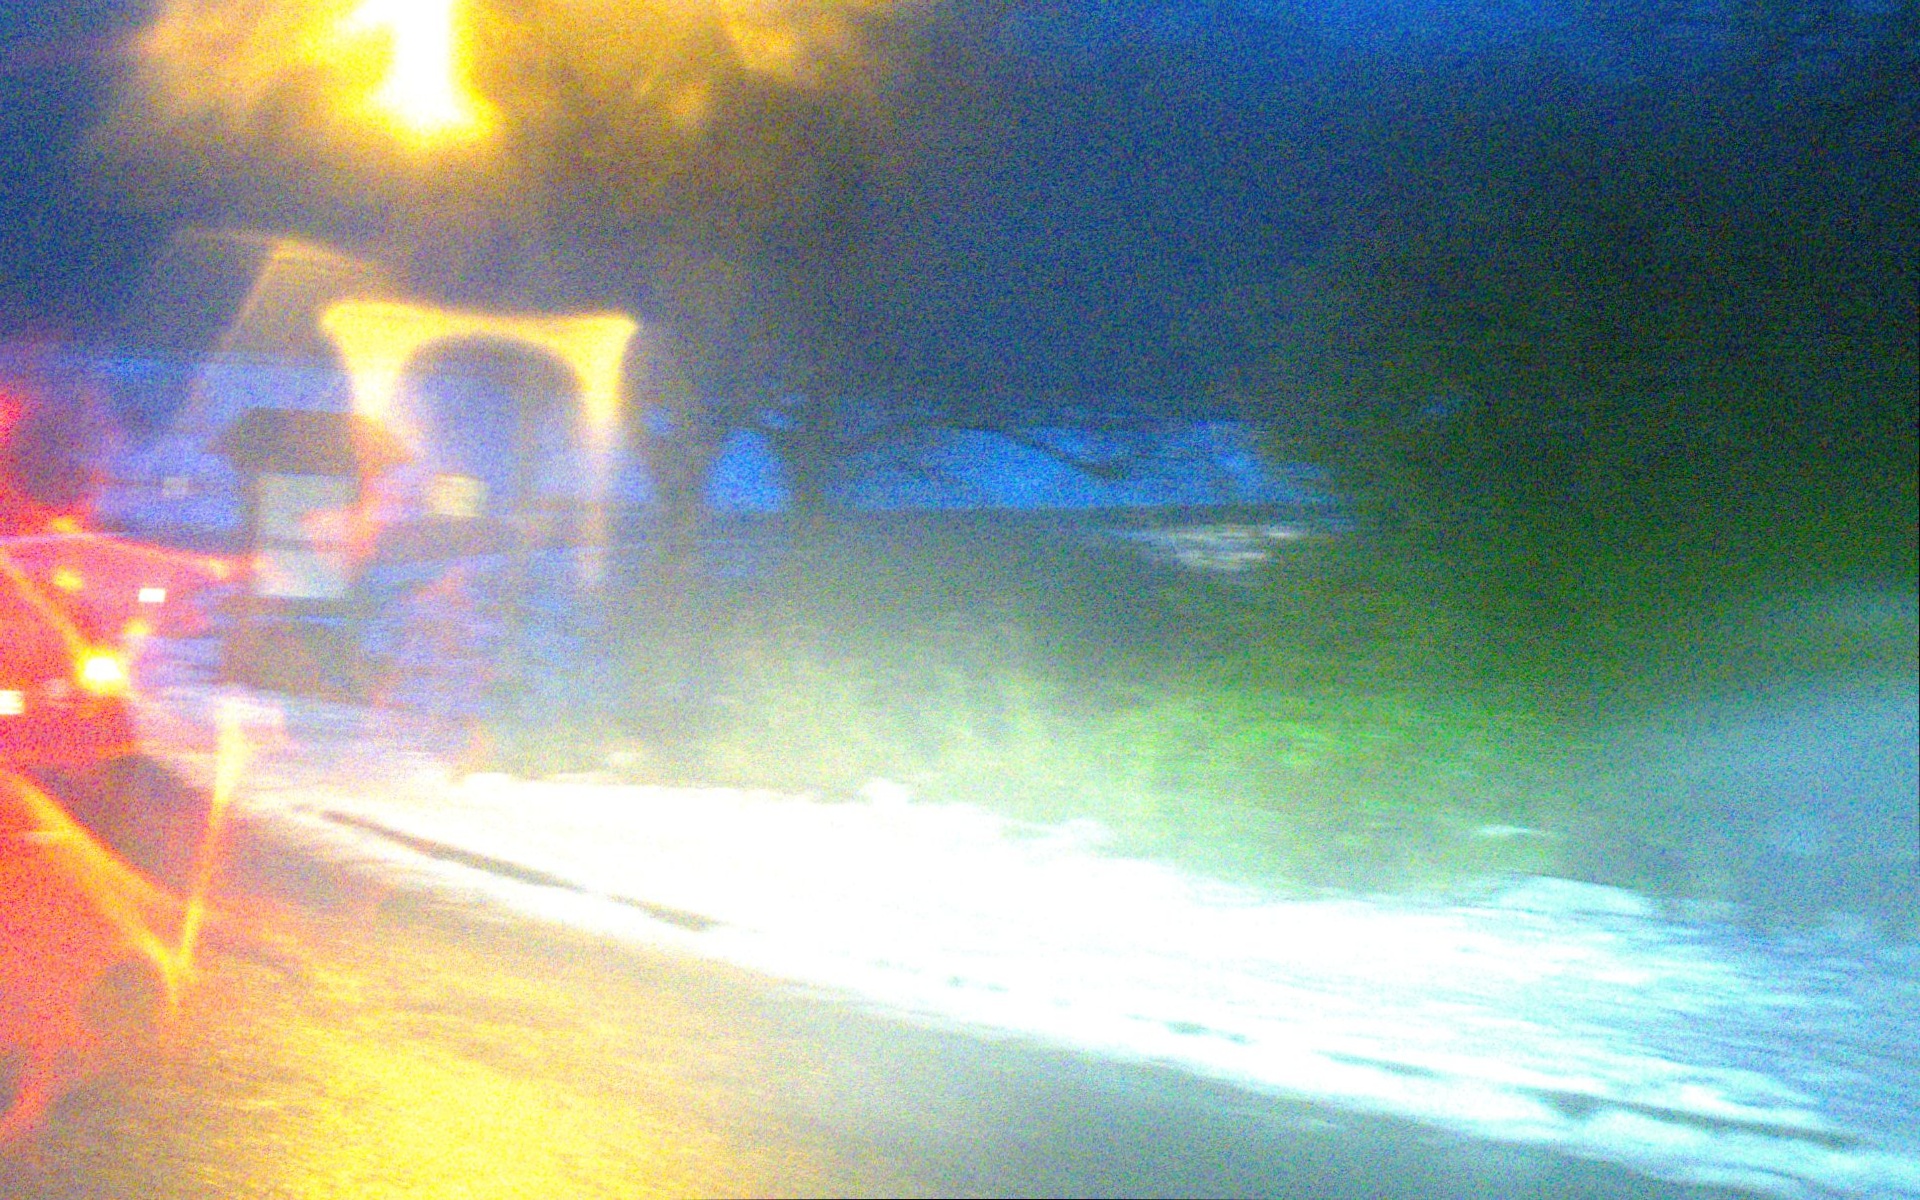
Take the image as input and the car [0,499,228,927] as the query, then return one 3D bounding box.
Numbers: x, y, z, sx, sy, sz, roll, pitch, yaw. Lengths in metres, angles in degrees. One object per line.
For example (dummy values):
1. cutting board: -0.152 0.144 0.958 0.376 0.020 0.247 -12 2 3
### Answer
1. car: -4.700 0.435 16.452 1.822 1.790 3.579 0 2 -20
